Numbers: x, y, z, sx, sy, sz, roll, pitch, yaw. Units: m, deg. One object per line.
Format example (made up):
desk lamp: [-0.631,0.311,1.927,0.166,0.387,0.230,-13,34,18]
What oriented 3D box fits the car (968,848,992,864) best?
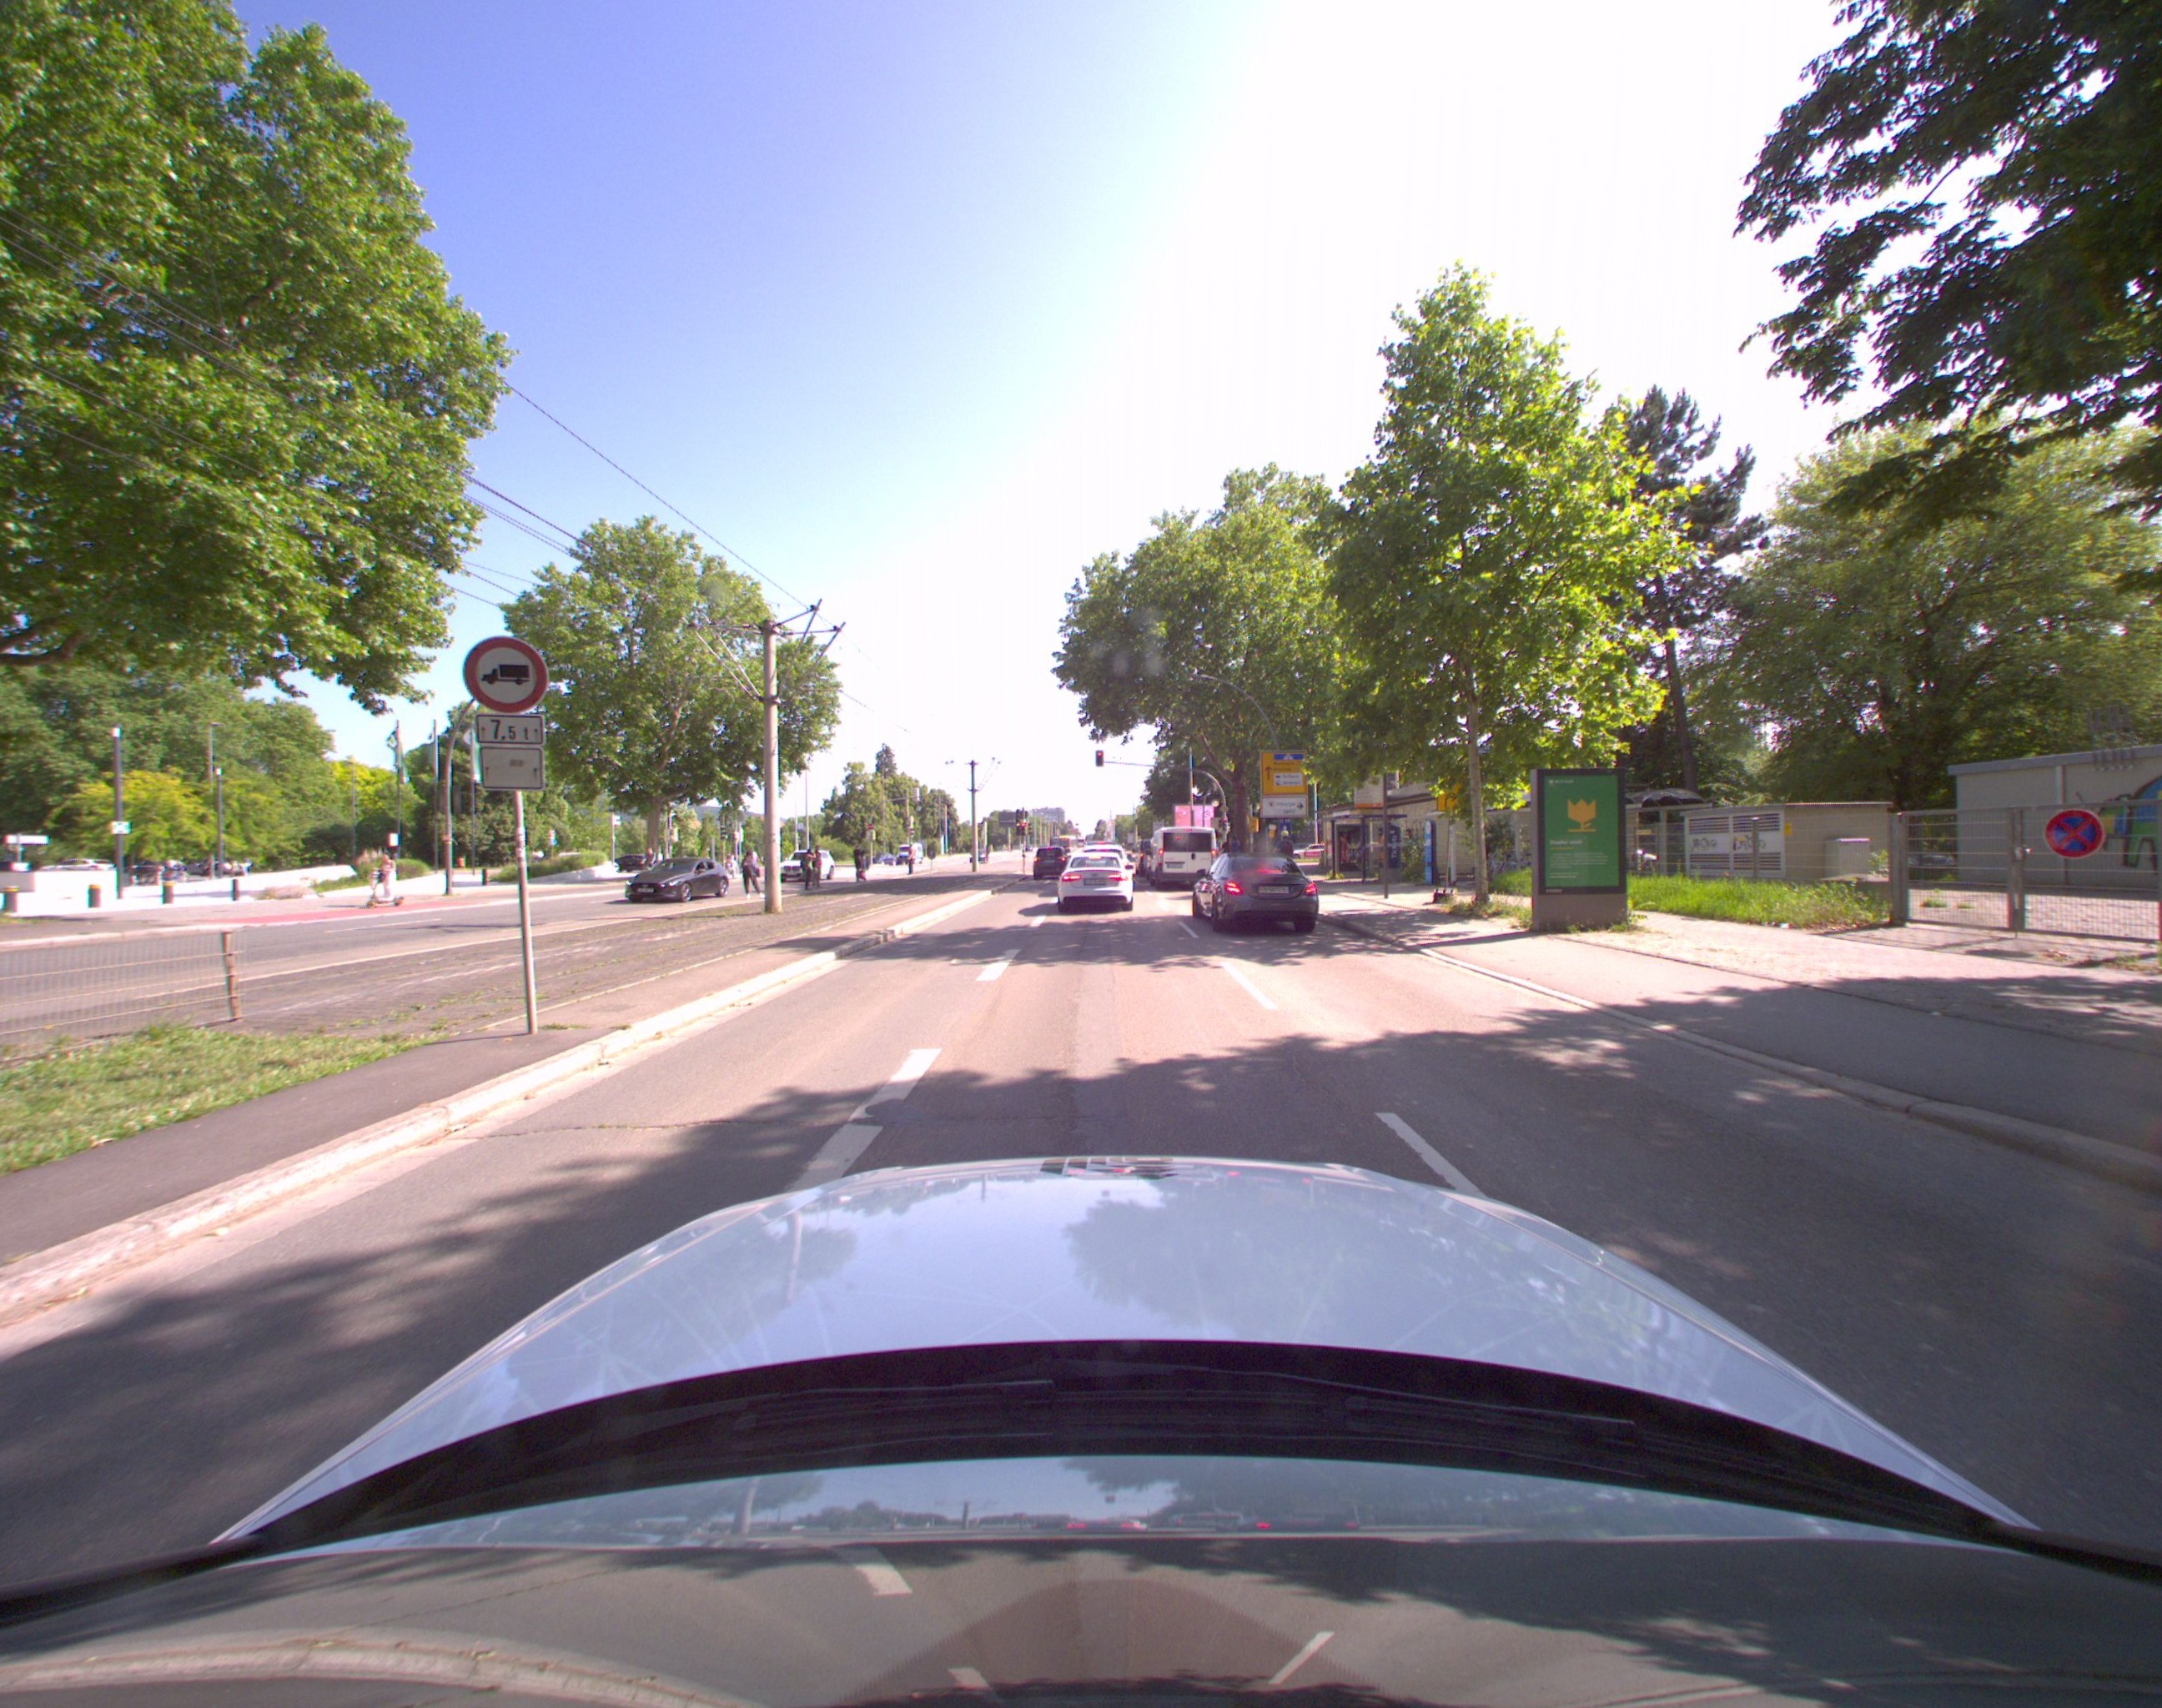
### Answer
car: [-10.943,0.213,88.782,1.986,1.734,4.002,-1,0,2]

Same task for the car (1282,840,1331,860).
car: [19.277,-0.343,69.627,3.762,1.672,1.794,-1,0,2]

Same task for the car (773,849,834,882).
car: [-14.395,0.582,42.444,1.757,1.609,3.862,-1,0,2]

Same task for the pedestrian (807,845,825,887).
pedestrian: [-10.894,0.489,33.518,0.490,1.679,0.644,-1,0,2]

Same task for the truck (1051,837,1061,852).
truck: [-5.487,-2.084,181.485,1.987,3.324,6.019,-1,0,-1]

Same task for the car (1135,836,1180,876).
car: [4.006,0.096,43.249,2.064,1.999,4.059,-1,0,1]

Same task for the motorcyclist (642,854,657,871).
motorcyclist: [-32.896,0.664,62.106,0.750,1.314,0.604,-1,0,1]

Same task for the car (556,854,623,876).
car: [-36.499,0.792,60.529,3.833,1.549,1.770,-1,0,1]

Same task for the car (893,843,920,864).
car: [-19.936,-0.064,93.282,2.106,2.382,4.002,-1,0,2]

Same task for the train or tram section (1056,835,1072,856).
train or tram section: [-3.307,-1.699,158.037,2.607,4.015,7.753,-1,0,2]

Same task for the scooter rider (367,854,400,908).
scooter rider: [-21.695,0.826,25.325,0.504,1.631,0.566,-1,0,2]

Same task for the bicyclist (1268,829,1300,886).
bicyclist: [6.079,0.092,24.421,0.632,1.648,0.979,-3,0,0]

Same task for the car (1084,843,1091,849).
car: [1.935,-2.407,244.714,1.863,1.609,4.004,-1,0,4]

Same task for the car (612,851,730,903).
car: [-13.806,0.728,27.723,1.864,1.609,4.002,-1,0,2]

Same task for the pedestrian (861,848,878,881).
pedestrian: [-10.443,0.506,40.187,0.532,1.598,0.580,-1,0,20]

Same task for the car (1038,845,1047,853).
car: [-8.740,-1.161,184.739,1.987,1.641,4.000,-1,0,0]

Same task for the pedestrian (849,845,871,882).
pedestrian: [-10.684,0.455,39.418,0.770,1.734,0.756,-1,0,10]

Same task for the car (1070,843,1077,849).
car: [-2.178,-2.375,244.695,1.863,1.609,4.004,-1,0,4]

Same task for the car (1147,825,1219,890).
car: [3.663,0.095,29.983,2.222,2.211,4.163,-1,0,1]

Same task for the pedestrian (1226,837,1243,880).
pedestrian: [7.153,0.205,37.935,0.633,1.946,0.719,-1,0,2]

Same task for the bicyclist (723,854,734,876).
bicyclist: [-21.202,0.638,48.990,0.383,1.311,0.466,-1,0,2]

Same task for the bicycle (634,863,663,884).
bicycle: [-21.367,0.943,40.230,0.482,0.961,1.655,-1,0,2]

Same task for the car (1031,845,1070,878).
car: [-1.533,0.353,42.236,1.723,1.631,4.001,-1,0,1]

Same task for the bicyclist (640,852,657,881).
bicyclist: [-21.382,0.599,40.292,0.478,1.416,0.592,-1,0,1]

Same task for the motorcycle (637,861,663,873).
motorcycle: [-32.884,1.015,62.101,1.638,0.891,0.650,-1,0,1]

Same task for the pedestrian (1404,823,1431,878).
pedestrian: [11.851,-0.129,28.690,0.611,1.896,0.694,-1,0,-2]

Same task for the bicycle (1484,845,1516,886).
bicycle: [12.307,0.335,23.943,0.388,1.180,1.174,-1,0,2]

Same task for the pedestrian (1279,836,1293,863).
pedestrian: [13.641,-0.325,54.225,0.773,1.788,0.766,-1,0,8]

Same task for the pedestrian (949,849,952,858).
pedestrian: [-21.370,-0.106,133.144,0.419,1.549,0.553,-1,0,2]

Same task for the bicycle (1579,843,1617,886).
bicycle: [14.714,0.286,23.197,0.388,1.180,1.174,-1,0,2]

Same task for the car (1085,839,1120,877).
car: [1.125,0.176,42.400,1.723,1.901,4.001,-1,0,1]

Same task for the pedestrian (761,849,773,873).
pedestrian: [-21.111,0.463,54.791,0.626,1.542,0.775,-1,0,-28]

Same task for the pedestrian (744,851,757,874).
pedestrian: [-22.764,0.563,56.150,0.620,1.542,0.644,-1,0,0]

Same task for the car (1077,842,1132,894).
car: [0.809,0.430,27.746,1.723,1.605,3.886,-1,0,1]

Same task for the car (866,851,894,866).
car: [-21.073,0.489,85.514,1.823,1.519,3.948,-1,0,2]

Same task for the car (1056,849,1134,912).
car: [0.377,0.590,20.554,1.778,1.420,3.886,-1,0,1]

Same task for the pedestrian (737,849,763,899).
pedestrian: [-10.899,0.639,26.823,0.761,1.623,0.590,-1,0,-24]

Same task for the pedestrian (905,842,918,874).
pedestrian: [-10.318,0.242,49.636,0.621,1.918,0.690,-1,0,2]

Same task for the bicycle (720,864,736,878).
bicycle: [-21.203,1.016,48.962,0.419,0.748,1.146,-1,0,2]

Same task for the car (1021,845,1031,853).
car: [-12.183,-1.069,180.503,1.987,1.641,4.000,-1,0,0]

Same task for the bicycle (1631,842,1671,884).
bicycle: [16.476,0.243,23.560,0.388,1.180,1.174,-1,0,2]

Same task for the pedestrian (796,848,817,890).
pedestrian: [-10.941,0.584,32.463,0.590,1.646,0.554,-1,0,1]

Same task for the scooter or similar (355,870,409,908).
scooter or similar: [-21.697,1.073,25.296,0.545,1.112,1.248,-1,0,2]

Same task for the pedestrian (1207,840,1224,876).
pedestrian: [6.511,0.182,39.350,0.600,1.694,0.954,-3,0,1]

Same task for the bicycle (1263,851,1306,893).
bicycle: [6.110,0.518,24.541,0.712,1.148,2.178,-3,0,1]

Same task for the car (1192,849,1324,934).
car: [3.254,0.617,15.714,1.776,1.420,4.001,-1,0,1]

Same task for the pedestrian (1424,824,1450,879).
pedestrian: [12.562,-0.101,28.720,0.611,1.896,0.597,-1,0,-2]
